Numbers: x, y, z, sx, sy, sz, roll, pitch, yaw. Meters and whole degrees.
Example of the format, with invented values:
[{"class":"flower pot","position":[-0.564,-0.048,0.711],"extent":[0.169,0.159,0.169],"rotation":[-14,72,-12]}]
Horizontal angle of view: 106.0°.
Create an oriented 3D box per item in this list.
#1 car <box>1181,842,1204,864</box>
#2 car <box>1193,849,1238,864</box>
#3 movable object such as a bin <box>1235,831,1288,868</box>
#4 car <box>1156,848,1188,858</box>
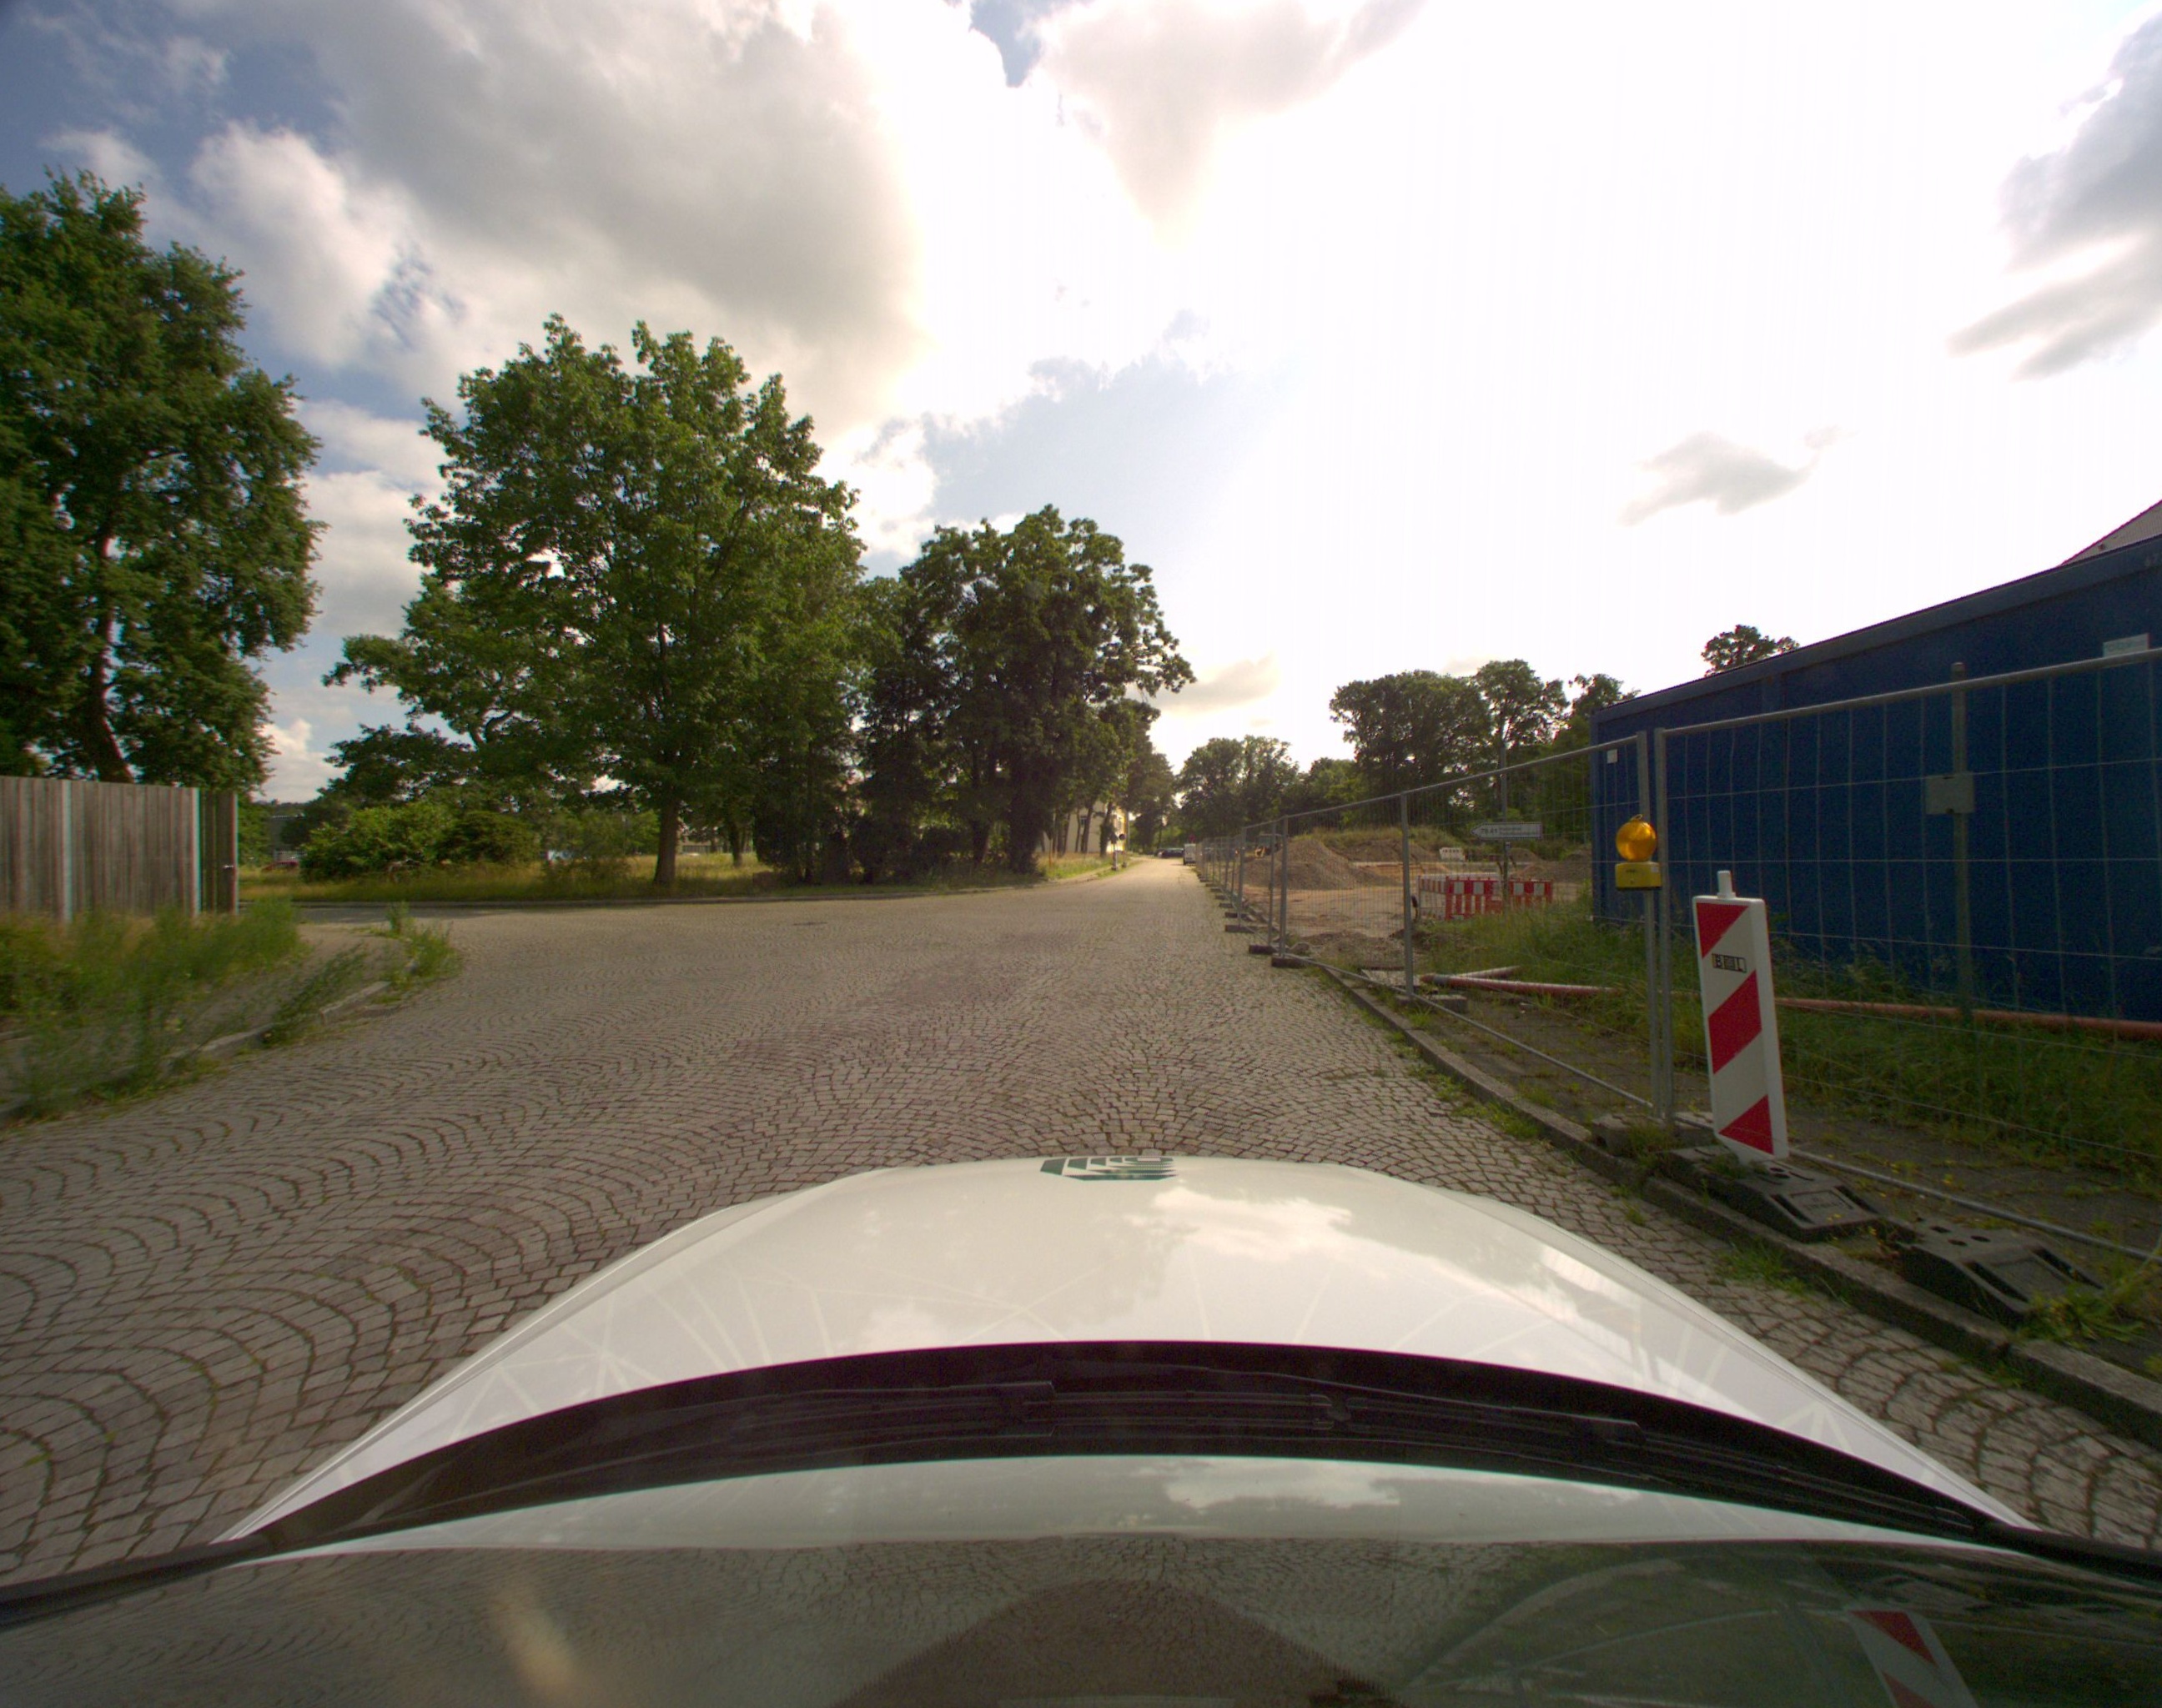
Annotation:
[{"class":"car","position":[10.569,-0.121,77.579],"extent":[1.984,2.013,4.097],"rotation":[0,0,5]},{"class":"car","position":[13.737,0.266,83.229],"extent":[4.371,1.510,2.008],"rotation":[0,0,14]},{"class":"movable object such as a bin","position":[13.340,-0.346,59.921],"extent":[2.108,2.593,4.822],"rotation":[-1,0,35]},{"class":"car","position":[14.417,-0.165,129.119],"extent":[4.763,1.640,2.000],"rotation":[0,0,0]}]
